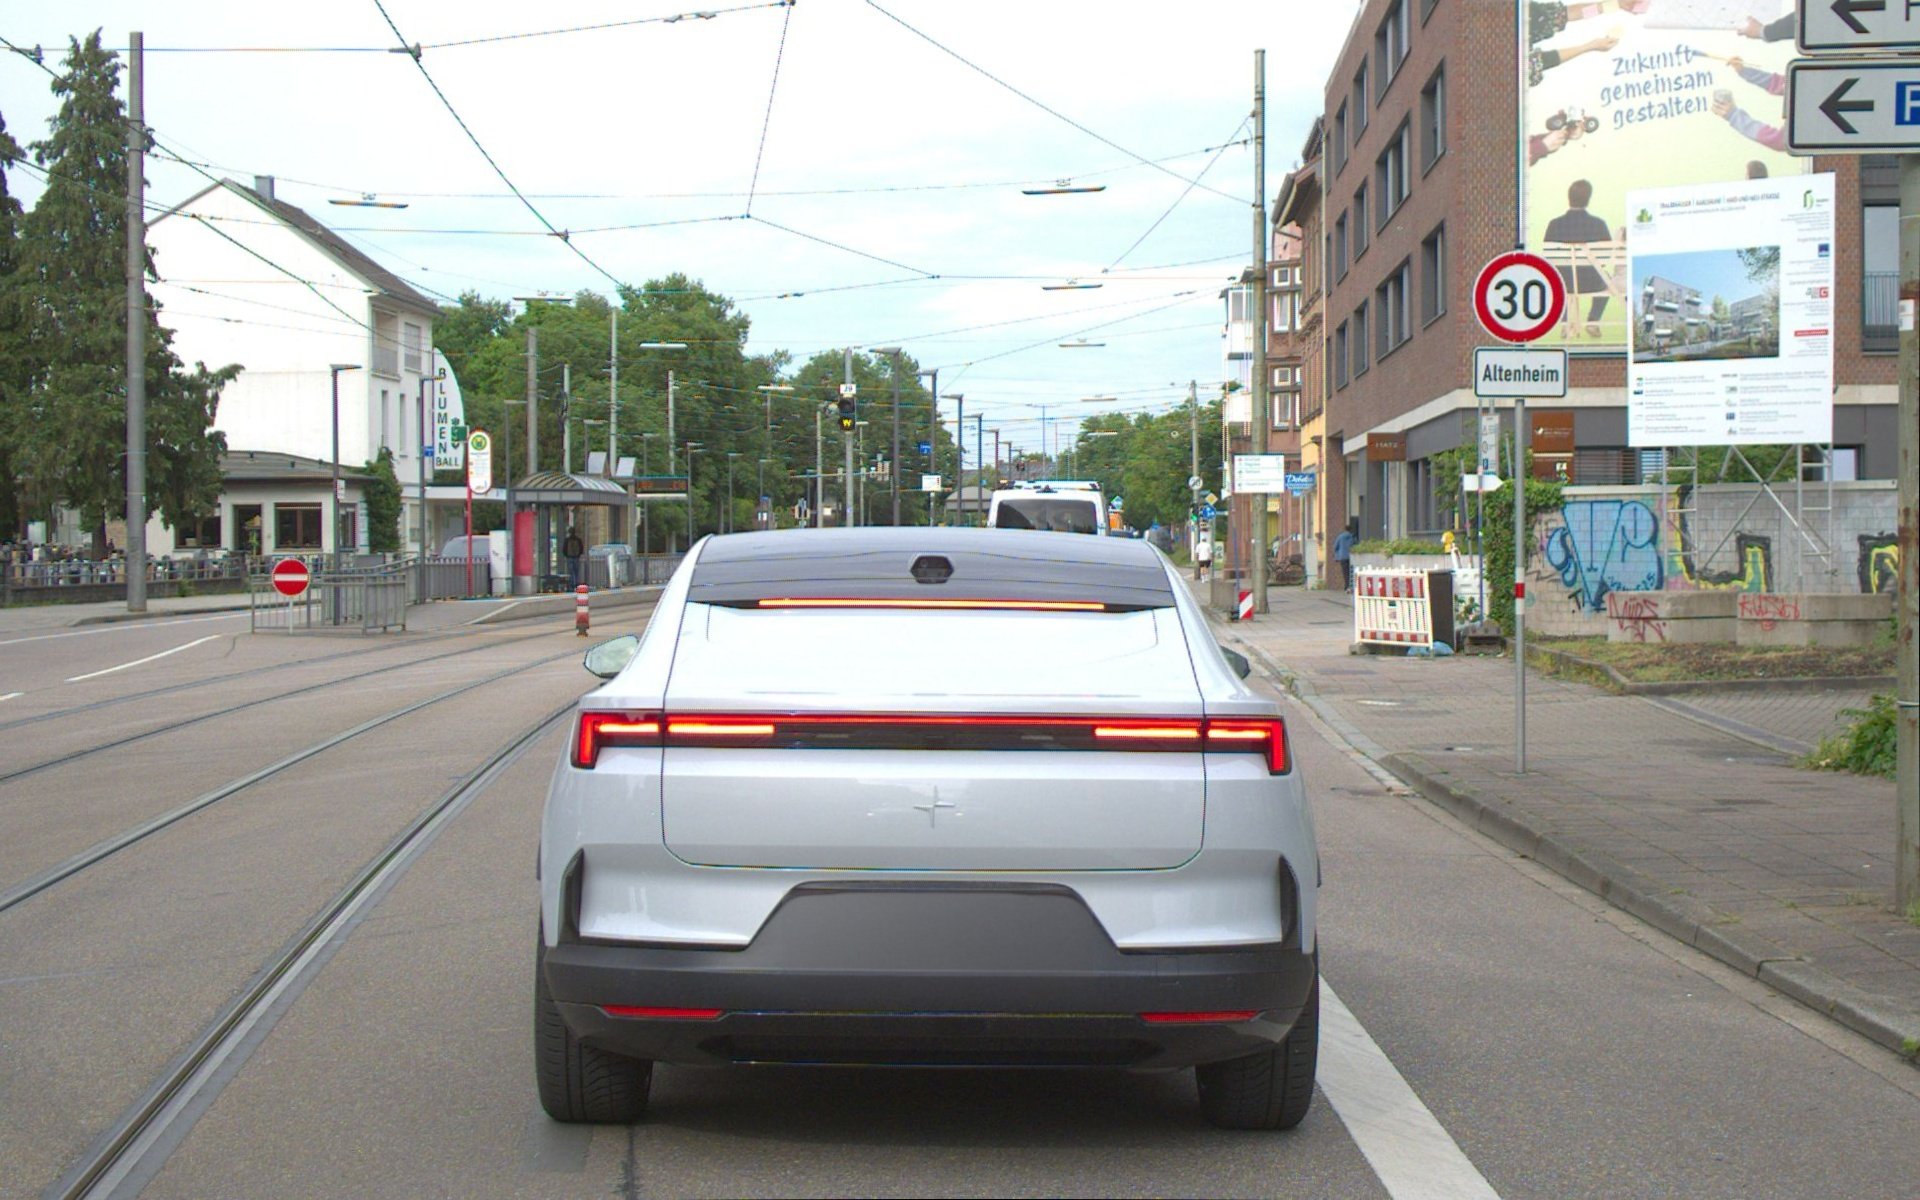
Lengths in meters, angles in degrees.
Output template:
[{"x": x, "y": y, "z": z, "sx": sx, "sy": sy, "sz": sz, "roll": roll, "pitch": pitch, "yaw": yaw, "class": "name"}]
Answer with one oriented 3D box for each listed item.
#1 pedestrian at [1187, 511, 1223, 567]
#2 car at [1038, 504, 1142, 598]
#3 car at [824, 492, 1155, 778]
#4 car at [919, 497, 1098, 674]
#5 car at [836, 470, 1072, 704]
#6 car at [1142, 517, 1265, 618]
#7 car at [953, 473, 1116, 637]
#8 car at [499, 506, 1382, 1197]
[{"x": 8.977, "y": -2.233, "z": 125.987, "sx": 1.219, "sy": 2.007, "sz": 0.934, "roll": -1, "pitch": 1, "yaw": -1, "class": "pedestrian"}, {"x": 3.076, "y": -1.190, "z": 82.276, "sx": 2.139, "sy": 2.138, "sz": 4.744, "roll": 1, "pitch": 1, "yaw": -2, "class": "car"}, {"x": 0.112, "y": 0.206, "z": 23.394, "sx": 1.968, "sy": 1.750, "sz": 3.838, "roll": 1, "pitch": 0, "yaw": -3, "class": "car"}, {"x": 0.543, "y": -0.182, "z": 41.878, "sx": 1.993, "sy": 2.007, "sz": 4.000, "roll": 1, "pitch": 0, "yaw": -1, "class": "car"}, {"x": -0.122, "y": -0.130, "z": 32.085, "sx": 1.993, "sy": 2.007, "sz": 4.000, "roll": 1, "pitch": 0, "yaw": -3, "class": "car"}, {"x": 4.584, "y": -0.614, "z": 65.257, "sx": 1.874, "sy": 1.817, "sz": 4.097, "roll": 1, "pitch": 0, "yaw": -2, "class": "car"}, {"x": 1.116, "y": -0.693, "z": 54.179, "sx": 2.216, "sy": 2.415, "sz": 4.952, "roll": 1, "pitch": 0, "yaw": -2, "class": "car"}, {"x": -0.204, "y": 0.543, "z": 9.900, "sx": 1.981, "sy": 1.544, "sz": 4.184, "roll": 1, "pitch": 1, "yaw": -5, "class": "car"}]
